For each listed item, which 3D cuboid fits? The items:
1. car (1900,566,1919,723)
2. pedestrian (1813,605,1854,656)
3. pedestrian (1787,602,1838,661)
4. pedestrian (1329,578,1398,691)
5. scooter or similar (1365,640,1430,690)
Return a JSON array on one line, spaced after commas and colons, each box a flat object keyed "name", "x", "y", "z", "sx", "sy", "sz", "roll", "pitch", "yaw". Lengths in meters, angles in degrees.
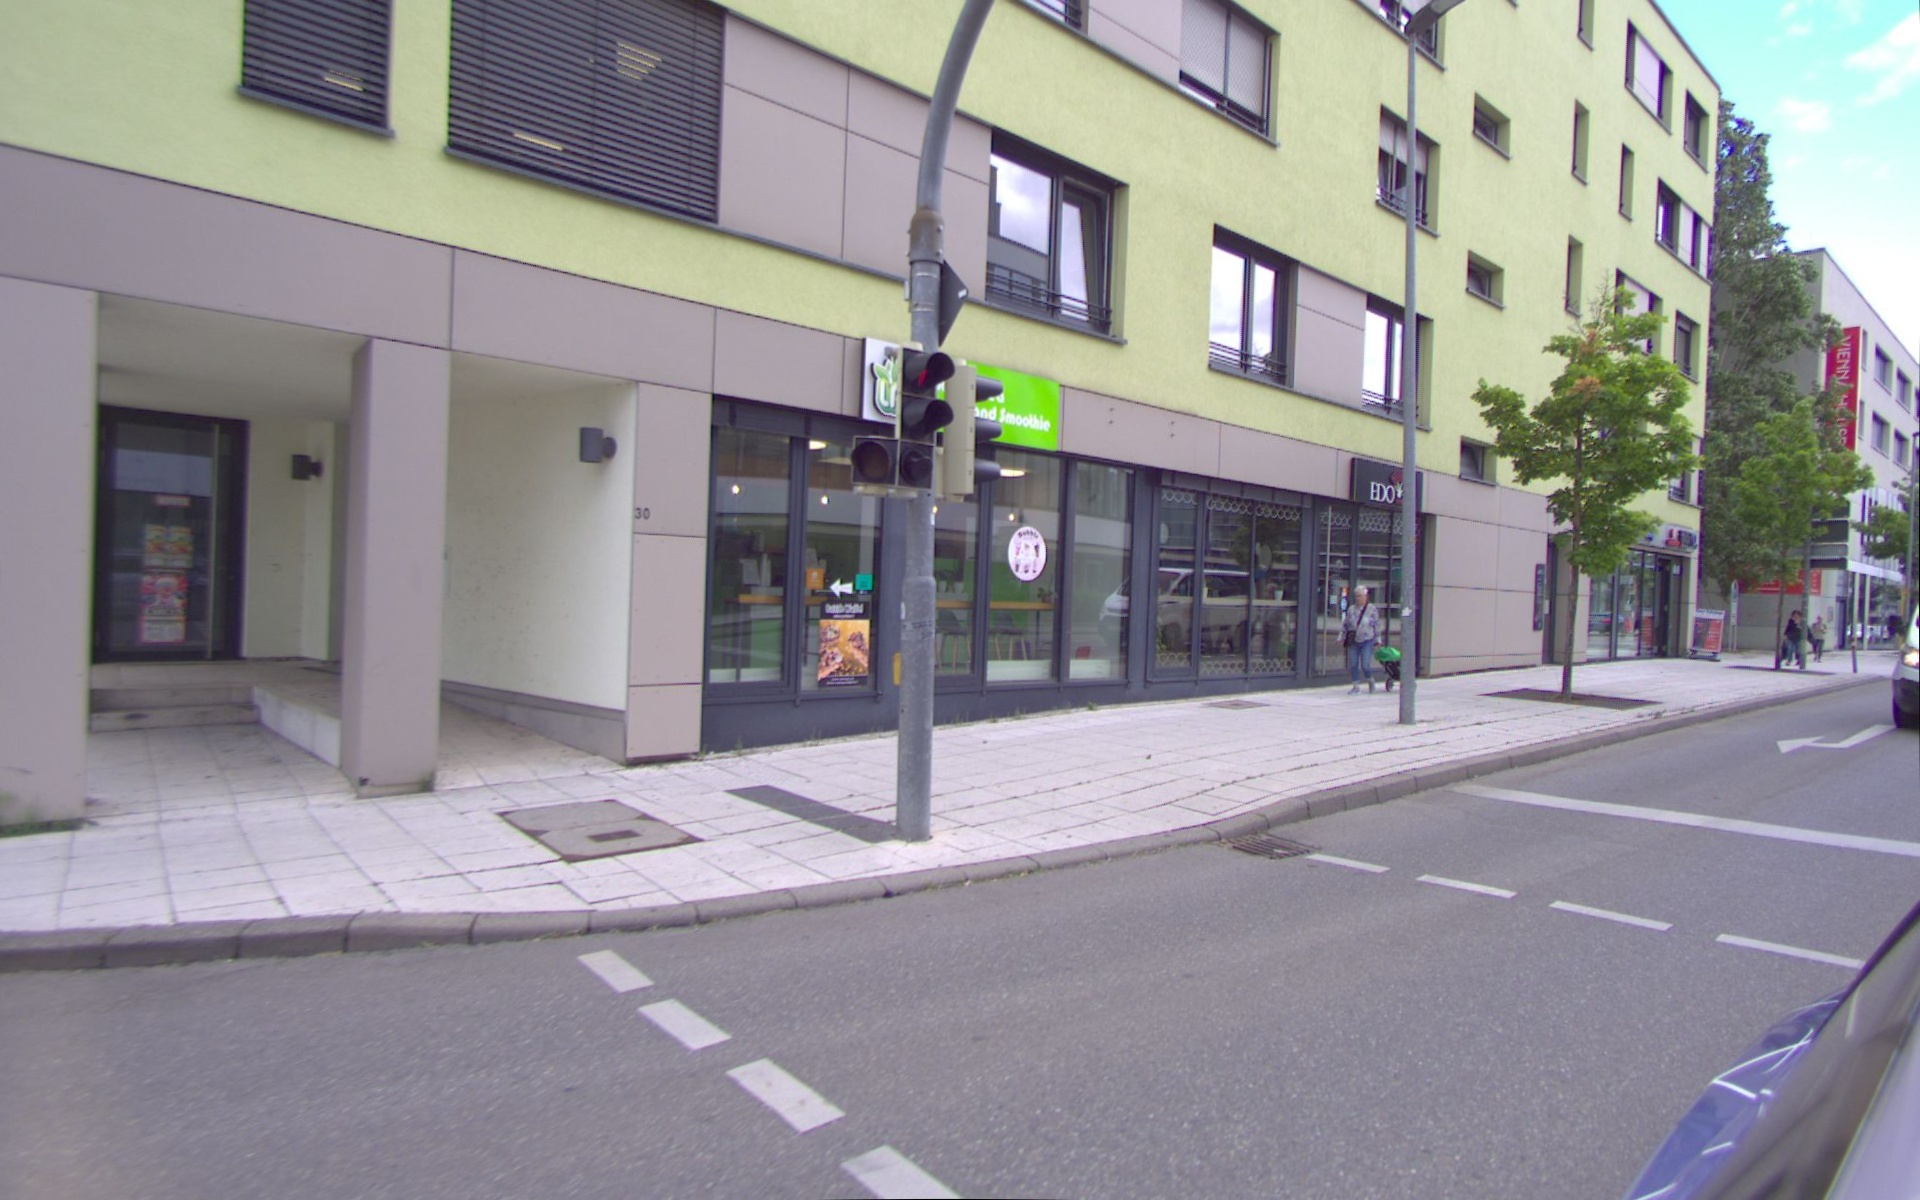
[{"name": "car", "x": 14.685, "y": 0.604, "z": 13.845, "sx": 4.910, "sy": 2.013, "sz": 1.999, "roll": 1, "pitch": -1, "yaw": -39}, {"name": "pedestrian", "x": 28.427, "y": 0.976, "z": 32.928, "sx": 0.790, "sy": 1.603, "sz": 0.870, "roll": 1, "pitch": 1, "yaw": -40}, {"name": "pedestrian", "x": 24.357, "y": 0.880, "z": 28.916, "sx": 0.998, "sy": 1.603, "sz": 0.949, "roll": 1, "pitch": 1, "yaw": -40}, {"name": "pedestrian", "x": 6.019, "y": 0.495, "z": 15.116, "sx": 0.592, "sy": 1.613, "sz": 0.697, "roll": 2, "pitch": 2, "yaw": -41}, {"name": "scooter or similar", "x": 6.668, "y": 0.974, "z": 15.420, "sx": 0.809, "sy": 0.681, "sz": 0.593, "roll": 1, "pitch": 2, "yaw": -41}]
